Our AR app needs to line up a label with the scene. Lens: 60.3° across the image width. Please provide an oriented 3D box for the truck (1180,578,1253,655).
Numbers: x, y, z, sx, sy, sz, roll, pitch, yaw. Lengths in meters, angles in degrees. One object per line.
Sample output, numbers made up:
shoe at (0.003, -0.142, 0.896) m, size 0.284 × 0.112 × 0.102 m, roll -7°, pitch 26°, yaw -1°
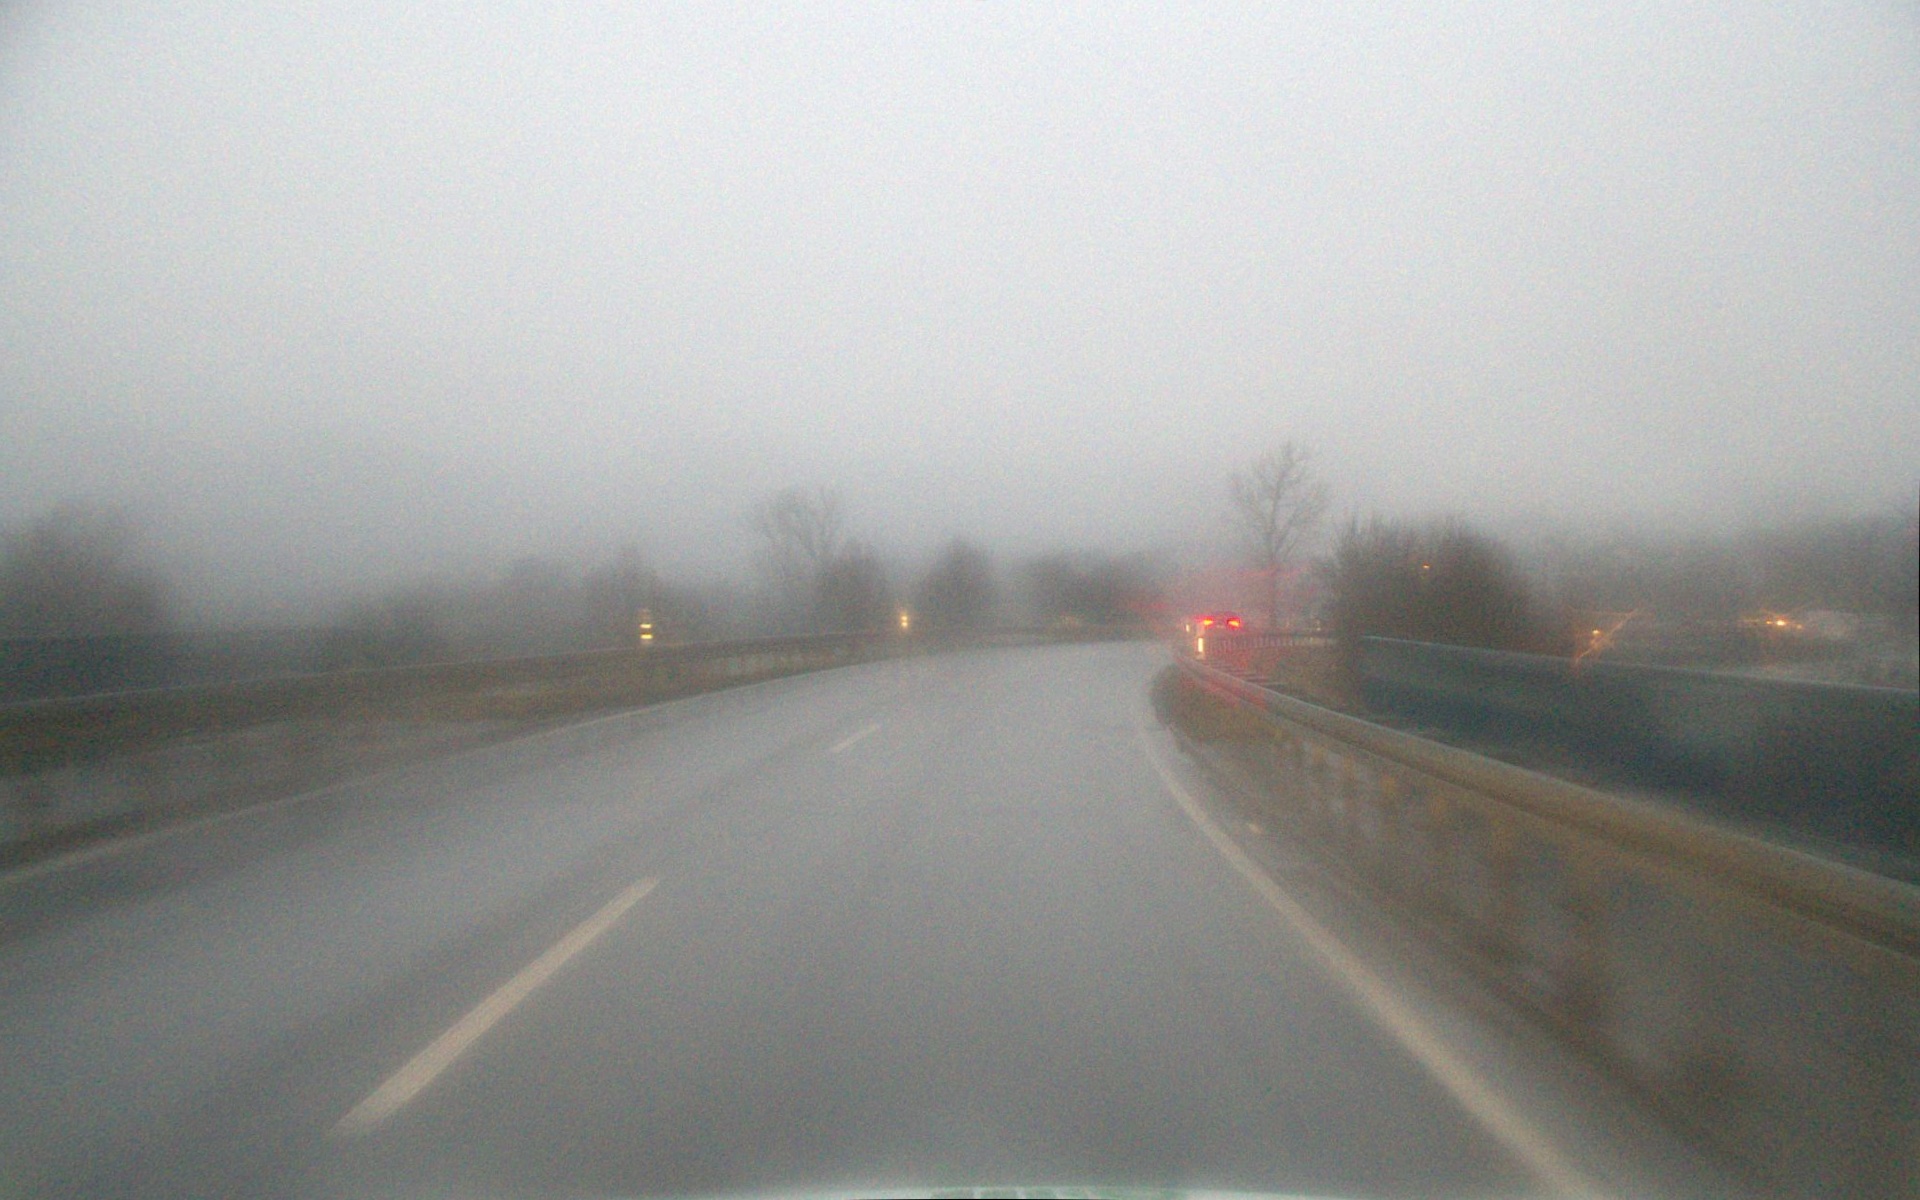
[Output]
truck at (12.418, 0.871, 79.804) m, size 2.484 × 2.913 × 5.925 m, roll 12°, pitch -1°, yaw 14°
